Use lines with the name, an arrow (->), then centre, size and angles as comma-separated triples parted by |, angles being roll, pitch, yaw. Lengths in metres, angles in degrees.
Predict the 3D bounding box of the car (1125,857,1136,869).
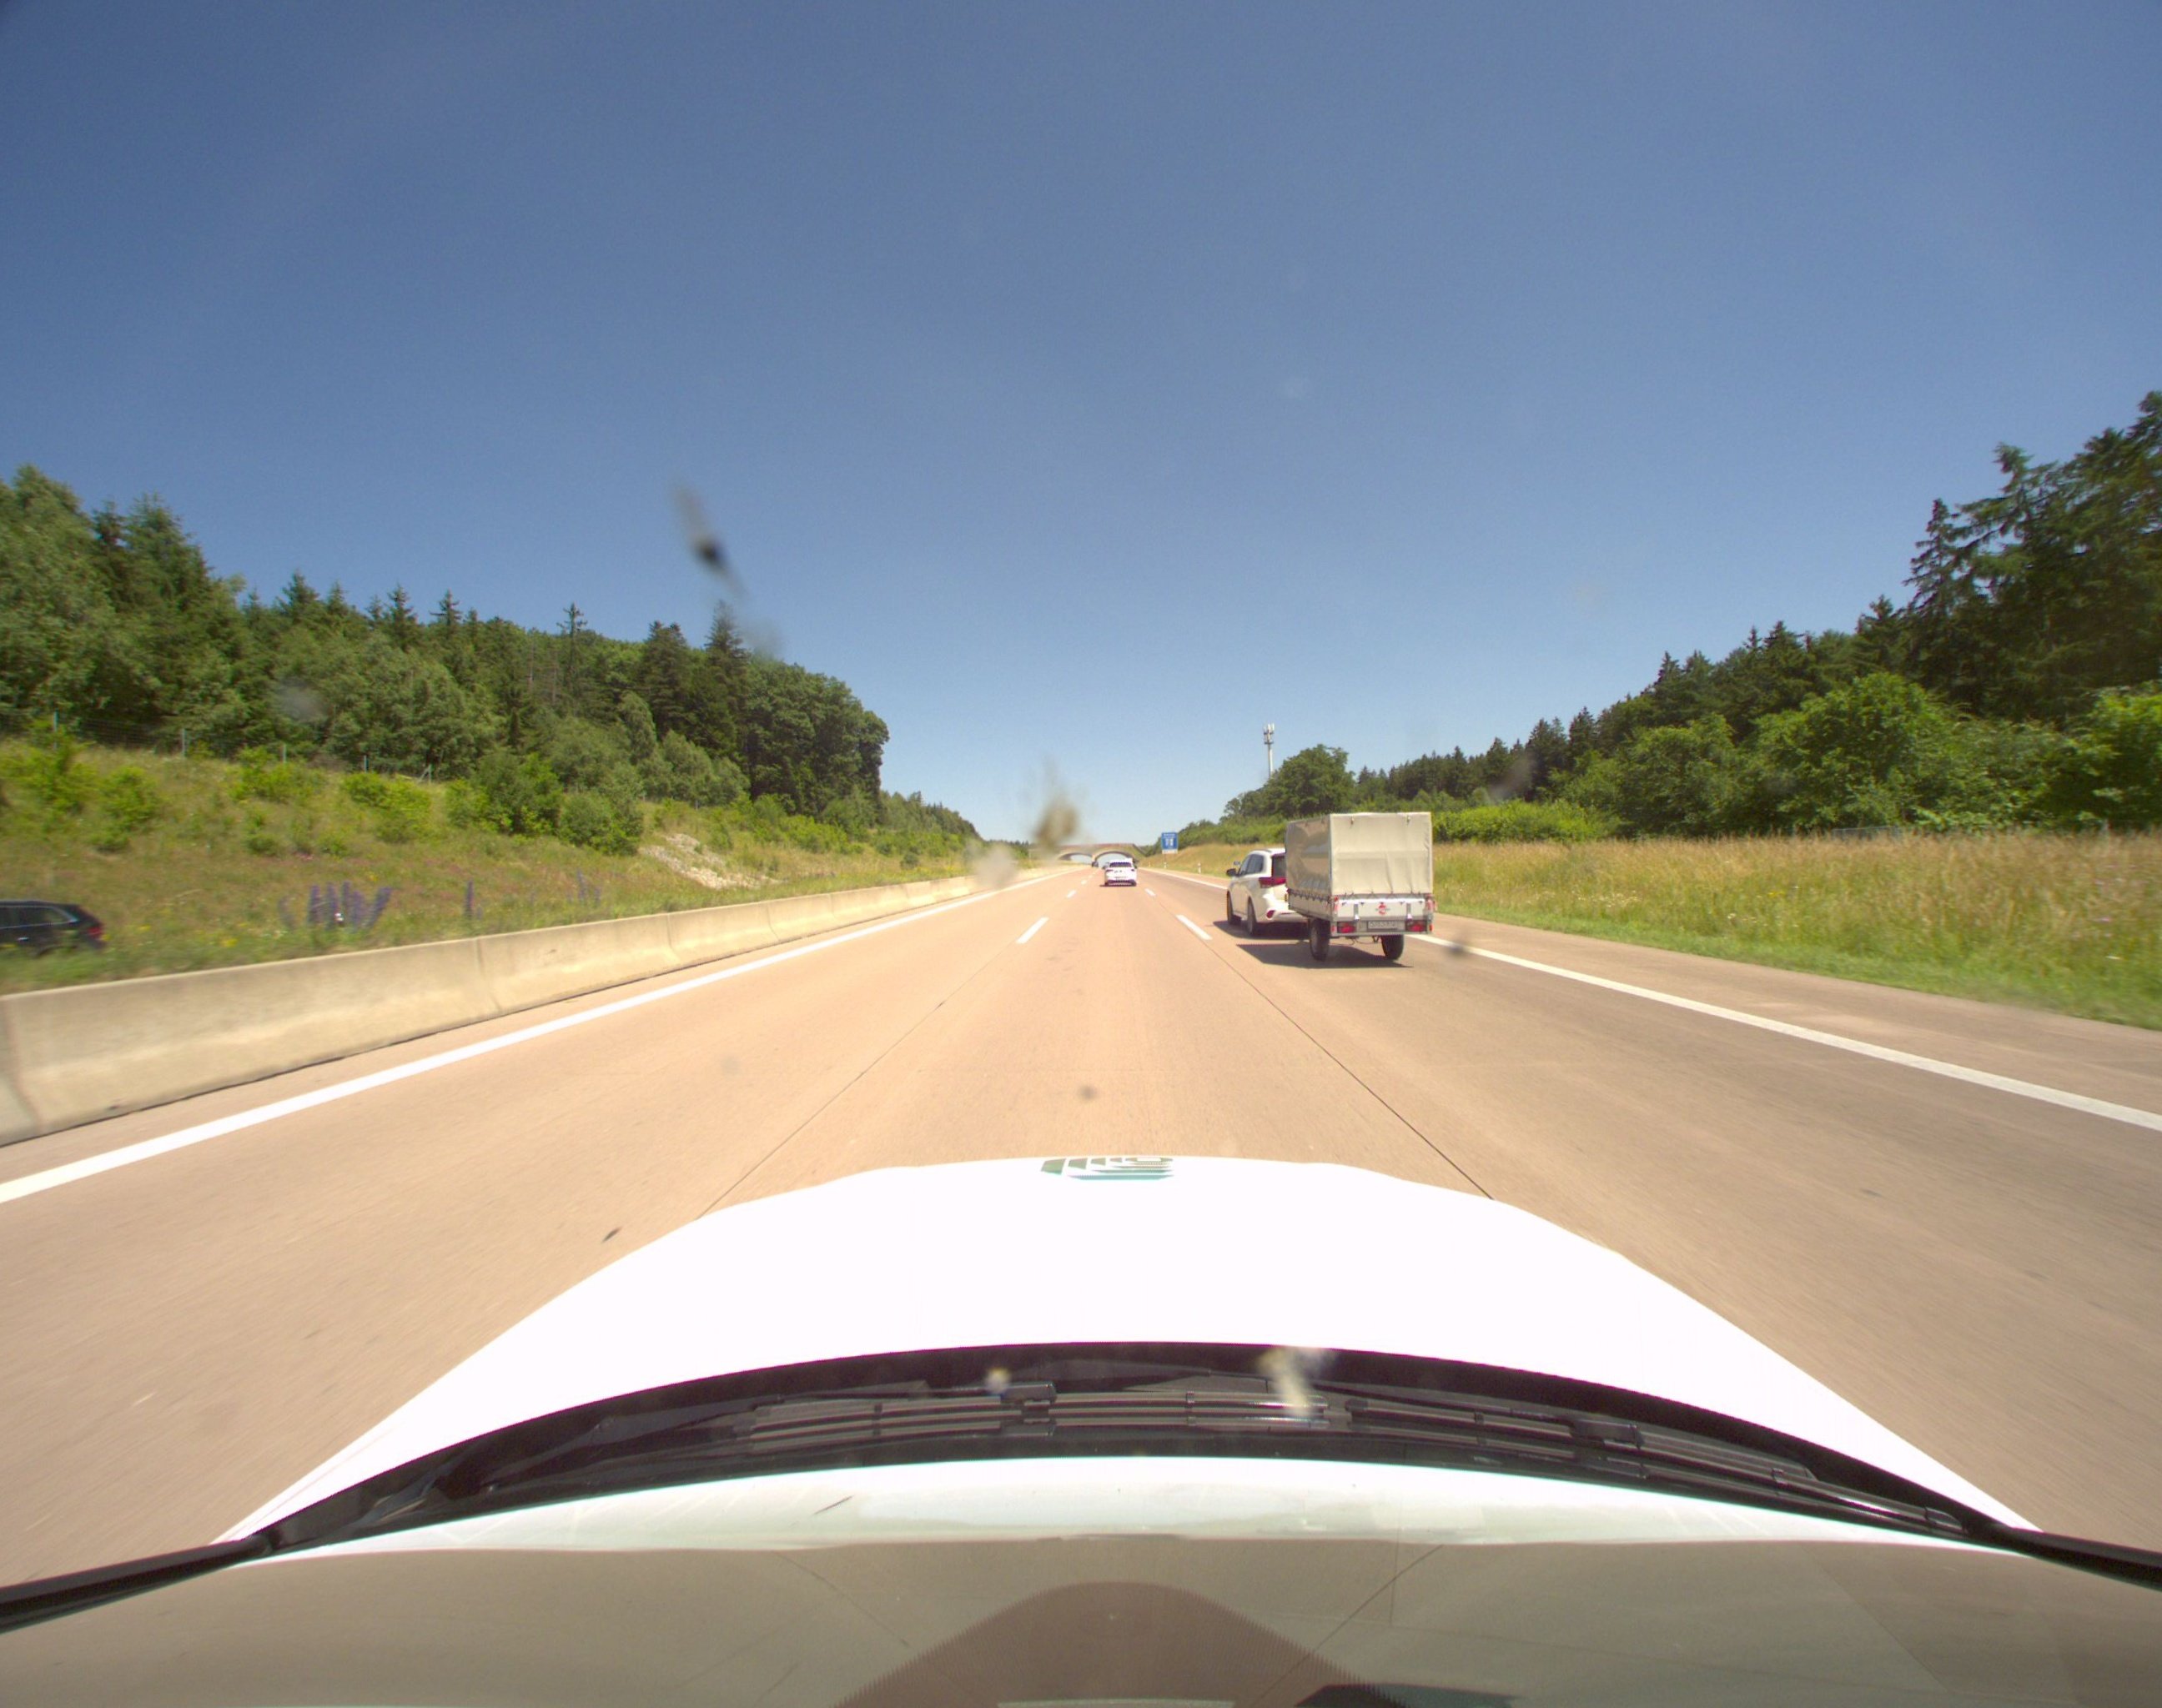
car -> 9.314, 1.708, 153.577 | 2.101, 2.054, 4.004 | -1, 0, 4

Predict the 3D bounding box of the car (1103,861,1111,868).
car -> 6.486, 2.614, 203.390 | 1.883, 1.463, 4.002 | 0, 0, 2

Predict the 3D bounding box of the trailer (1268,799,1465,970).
trailer -> 4.108, 0.400, 12.414 | 1.651, 2.164, 4.017 | -1, 0, 1

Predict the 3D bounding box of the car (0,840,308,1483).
car -> -3.696, 0.774, 0.426 | 1.872, 1.607, 4.835 | -1, 0, 1

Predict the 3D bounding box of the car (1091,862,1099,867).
car -> 3.924, 2.884, 225.478 | 1.882, 1.463, 4.004 | -1, 0, 4

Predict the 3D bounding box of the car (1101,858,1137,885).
car -> 2.146, 0.924, 45.371 | 1.882, 1.398, 4.004 | 0, 0, 4

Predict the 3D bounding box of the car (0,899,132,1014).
car -> -18.189, 1.702, 12.536 | 1.885, 1.738, 4.463 | -2, 0, 0

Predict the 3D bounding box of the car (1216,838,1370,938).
car -> 4.174, 0.606, 16.972 | 1.884, 1.728, 5.186 | -1, 0, 0
